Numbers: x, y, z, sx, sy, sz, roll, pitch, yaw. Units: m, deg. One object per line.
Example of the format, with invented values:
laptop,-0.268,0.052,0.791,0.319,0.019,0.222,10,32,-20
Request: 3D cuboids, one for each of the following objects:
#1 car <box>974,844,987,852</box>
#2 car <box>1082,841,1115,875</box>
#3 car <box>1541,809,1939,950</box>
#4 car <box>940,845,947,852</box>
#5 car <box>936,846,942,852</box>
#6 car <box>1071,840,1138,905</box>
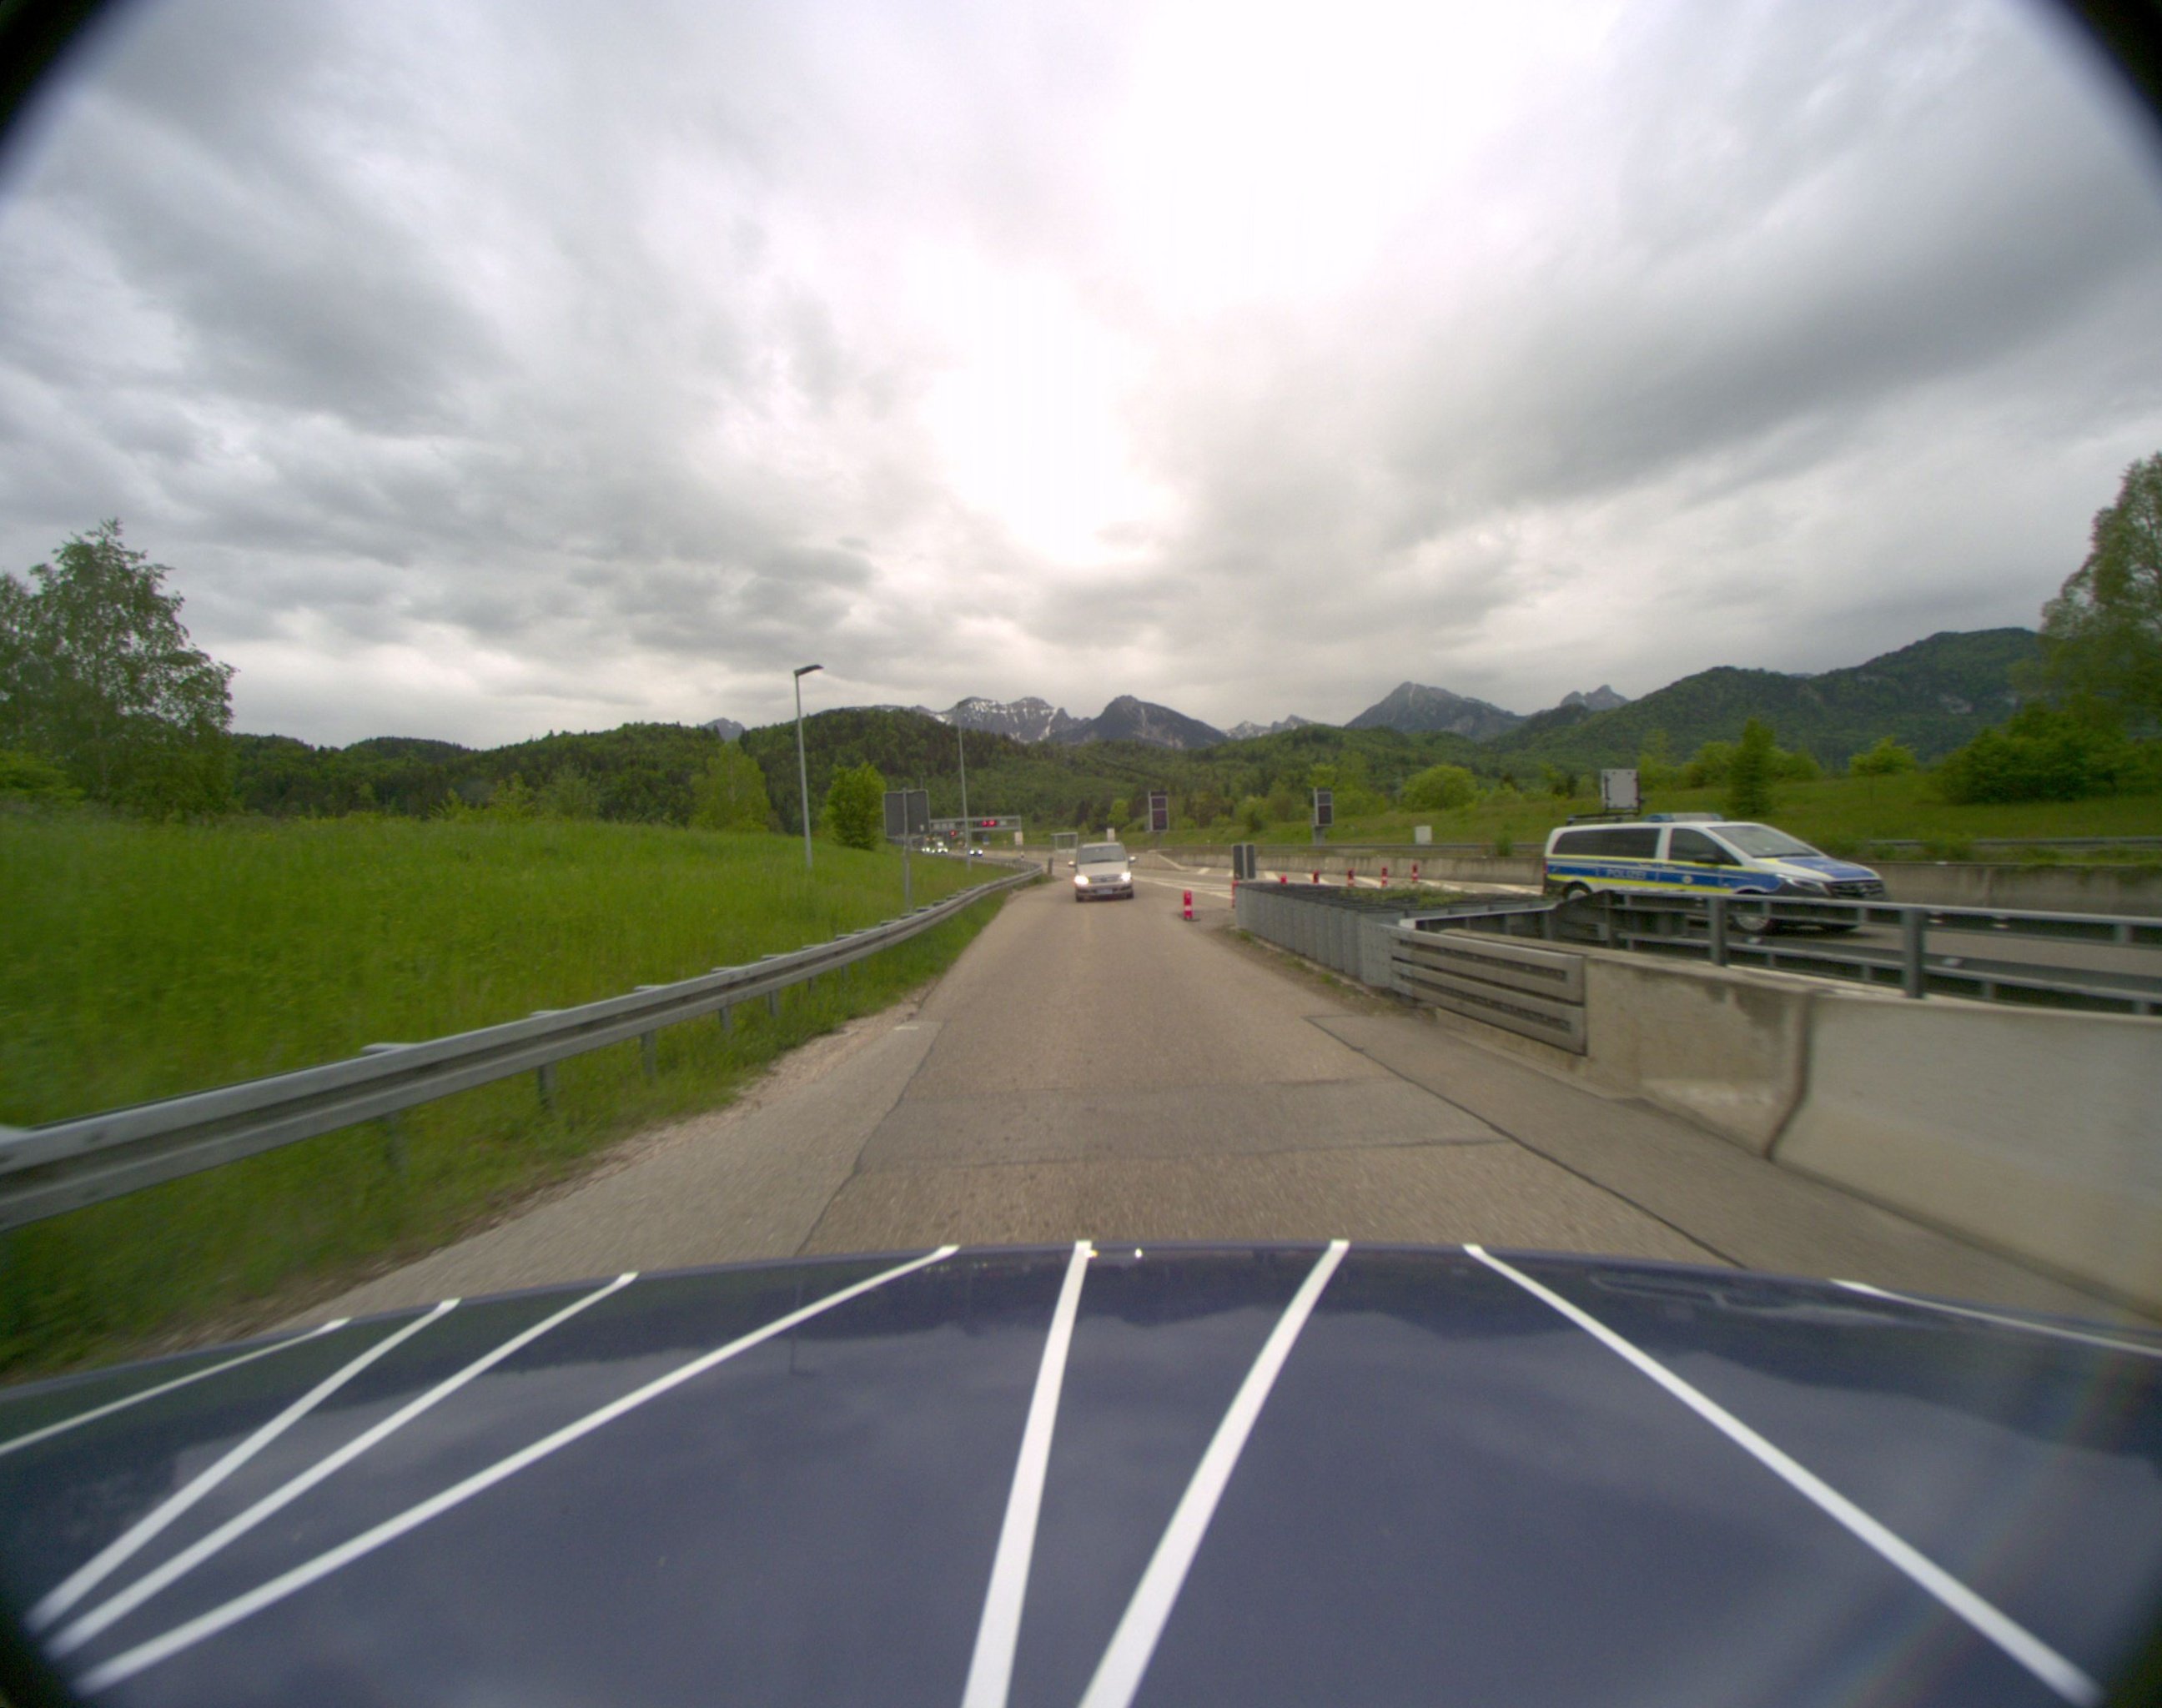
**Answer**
car,-16.281,-0.965,122.636,1.665,1.329,3.787,-1,1,-14
car,0.974,0.210,42.737,1.756,1.795,4.000,-1,1,1
car,11.339,0.315,13.736,2.294,2.002,5.043,-2,1,-13
car,-35.530,-1.499,196.129,1.632,1.688,3.492,-2,1,-10
car,-41.704,-1.584,222.501,1.632,1.688,3.492,-2,1,-10
car,0.724,0.523,25.705,1.923,1.871,5.137,-4,1,0
